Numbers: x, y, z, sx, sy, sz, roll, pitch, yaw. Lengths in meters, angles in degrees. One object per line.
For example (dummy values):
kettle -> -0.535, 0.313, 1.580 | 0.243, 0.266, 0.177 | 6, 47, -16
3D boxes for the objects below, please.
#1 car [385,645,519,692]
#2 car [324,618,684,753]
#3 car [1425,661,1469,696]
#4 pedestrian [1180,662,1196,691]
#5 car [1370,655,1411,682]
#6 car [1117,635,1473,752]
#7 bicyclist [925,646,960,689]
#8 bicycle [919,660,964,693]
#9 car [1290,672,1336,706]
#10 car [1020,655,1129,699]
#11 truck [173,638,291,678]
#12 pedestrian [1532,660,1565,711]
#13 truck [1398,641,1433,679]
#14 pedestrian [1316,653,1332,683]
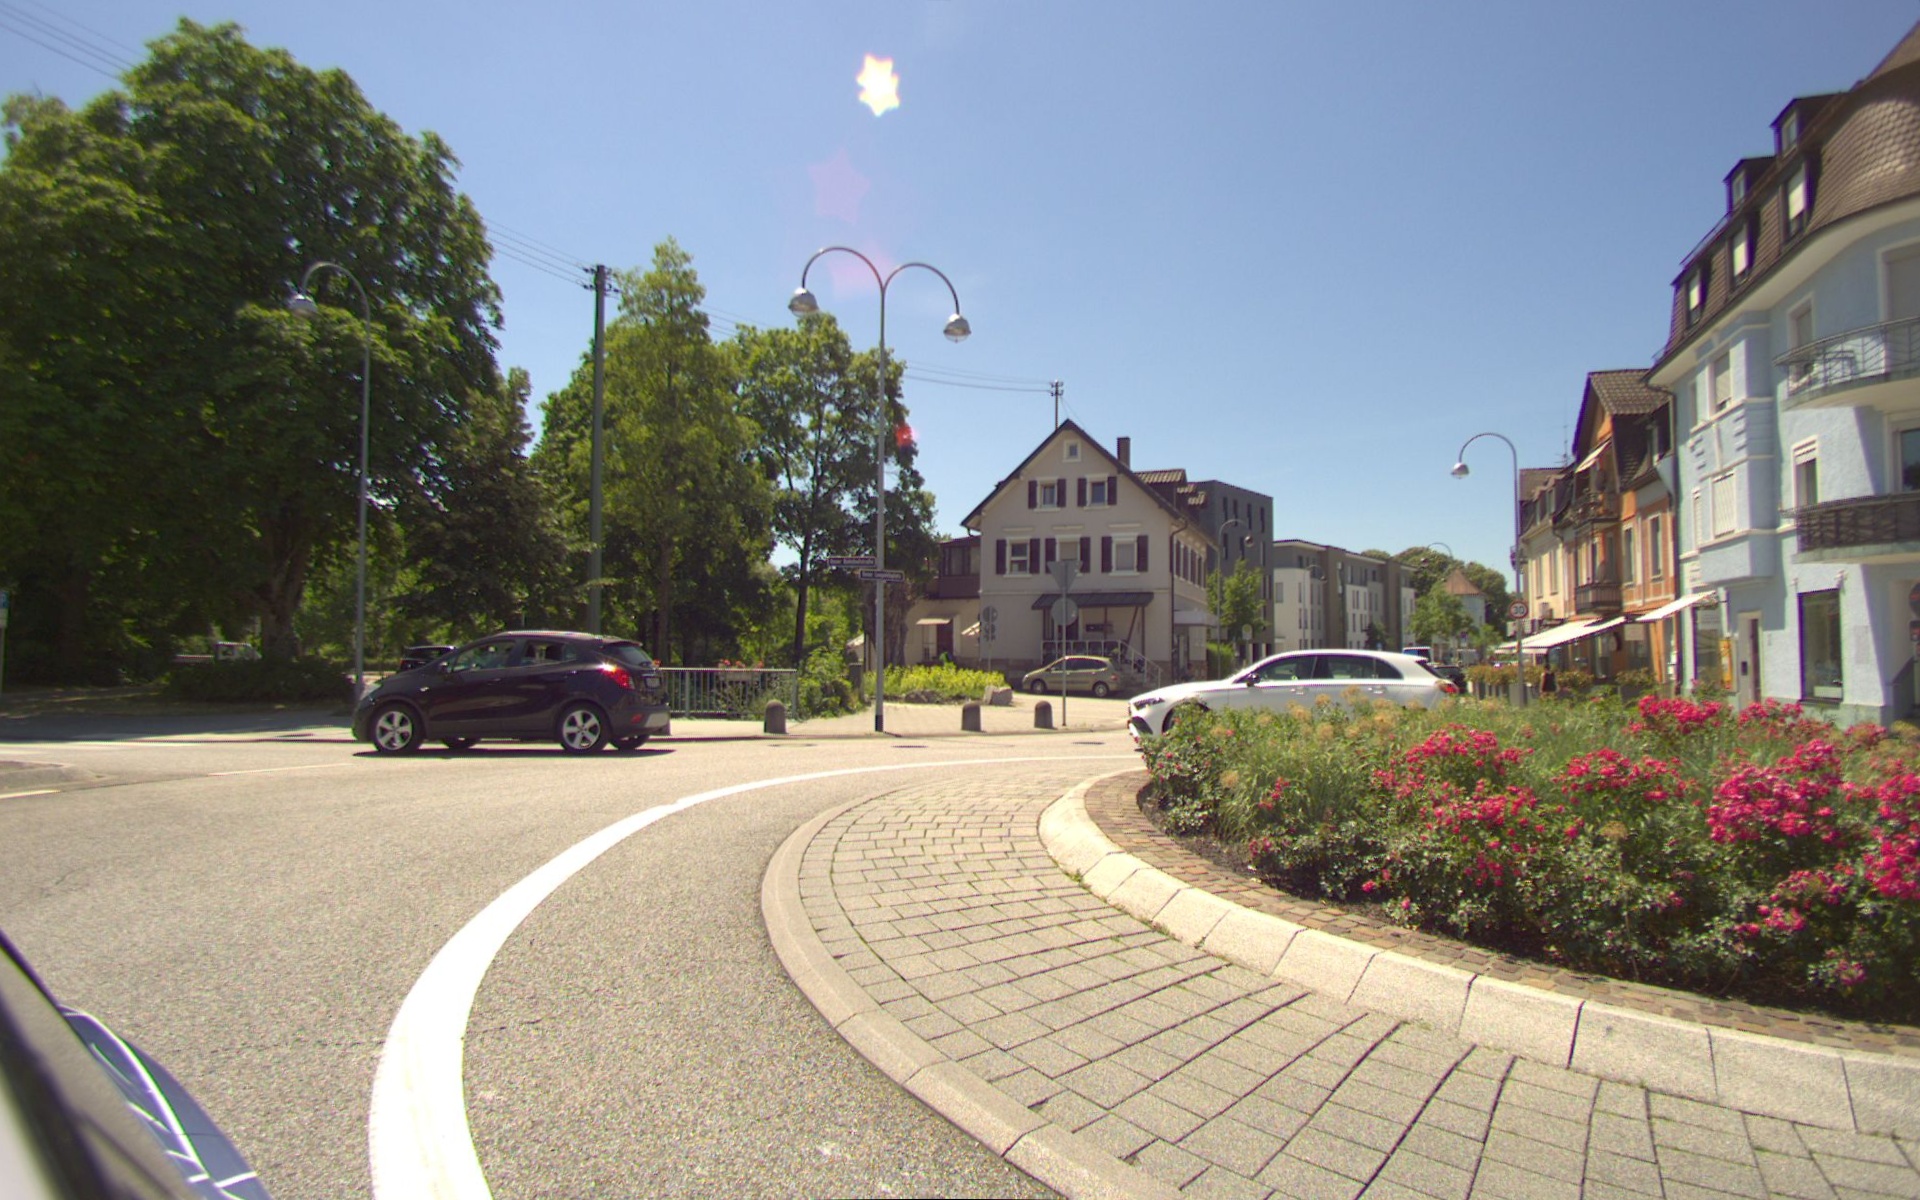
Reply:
car -> -18.252, 2.471, 36.548 | 3.934, 1.614, 1.847 | 1, -3, -12
car -> -6.169, 1.227, 14.081 | 4.111, 1.574, 1.998 | -3, -7, 3
car -> 22.744, 3.643, 47.334 | 1.673, 1.558, 3.913 | -3, -4, 24
pedestrian -> 10.249, 3.449, 45.513 | 0.680, 1.296, 0.577 | -1, -3, 18
car -> 35.779, 5.706, 84.079 | 1.929, 2.124, 4.391 | 0, -3, 40
car -> 4.443, 1.333, 13.868 | 4.253, 1.392, 1.921 | -3, -7, 18
bicyclist -> -0.722, 2.774, 41.801 | 0.798, 1.647, 1.064 | 8, -4, -40
bicycle -> -0.753, 3.137, 41.776 | 0.798, 1.164, 1.856 | 7, -4, -39
car -> 17.363, 4.335, 49.716 | 1.744, 1.558, 3.564 | -3, -4, 24
car -> 4.579, 3.067, 40.435 | 3.975, 1.608, 1.780 | 0, -4, 24
truck -> -47.660, 3.847, 66.331 | 6.119, 2.462, 2.268 | 3, -7, -39
pedestrian -> 18.305, 2.659, 31.483 | 0.623, 1.536, 0.798 | -3, -4, 18
truck -> 30.349, 3.998, 67.490 | 1.950, 2.388, 4.300 | -3, -4, 24
pedestrian -> 25.303, 4.710, 70.263 | 0.917, 2.045, 0.892 | -1, -3, 27
